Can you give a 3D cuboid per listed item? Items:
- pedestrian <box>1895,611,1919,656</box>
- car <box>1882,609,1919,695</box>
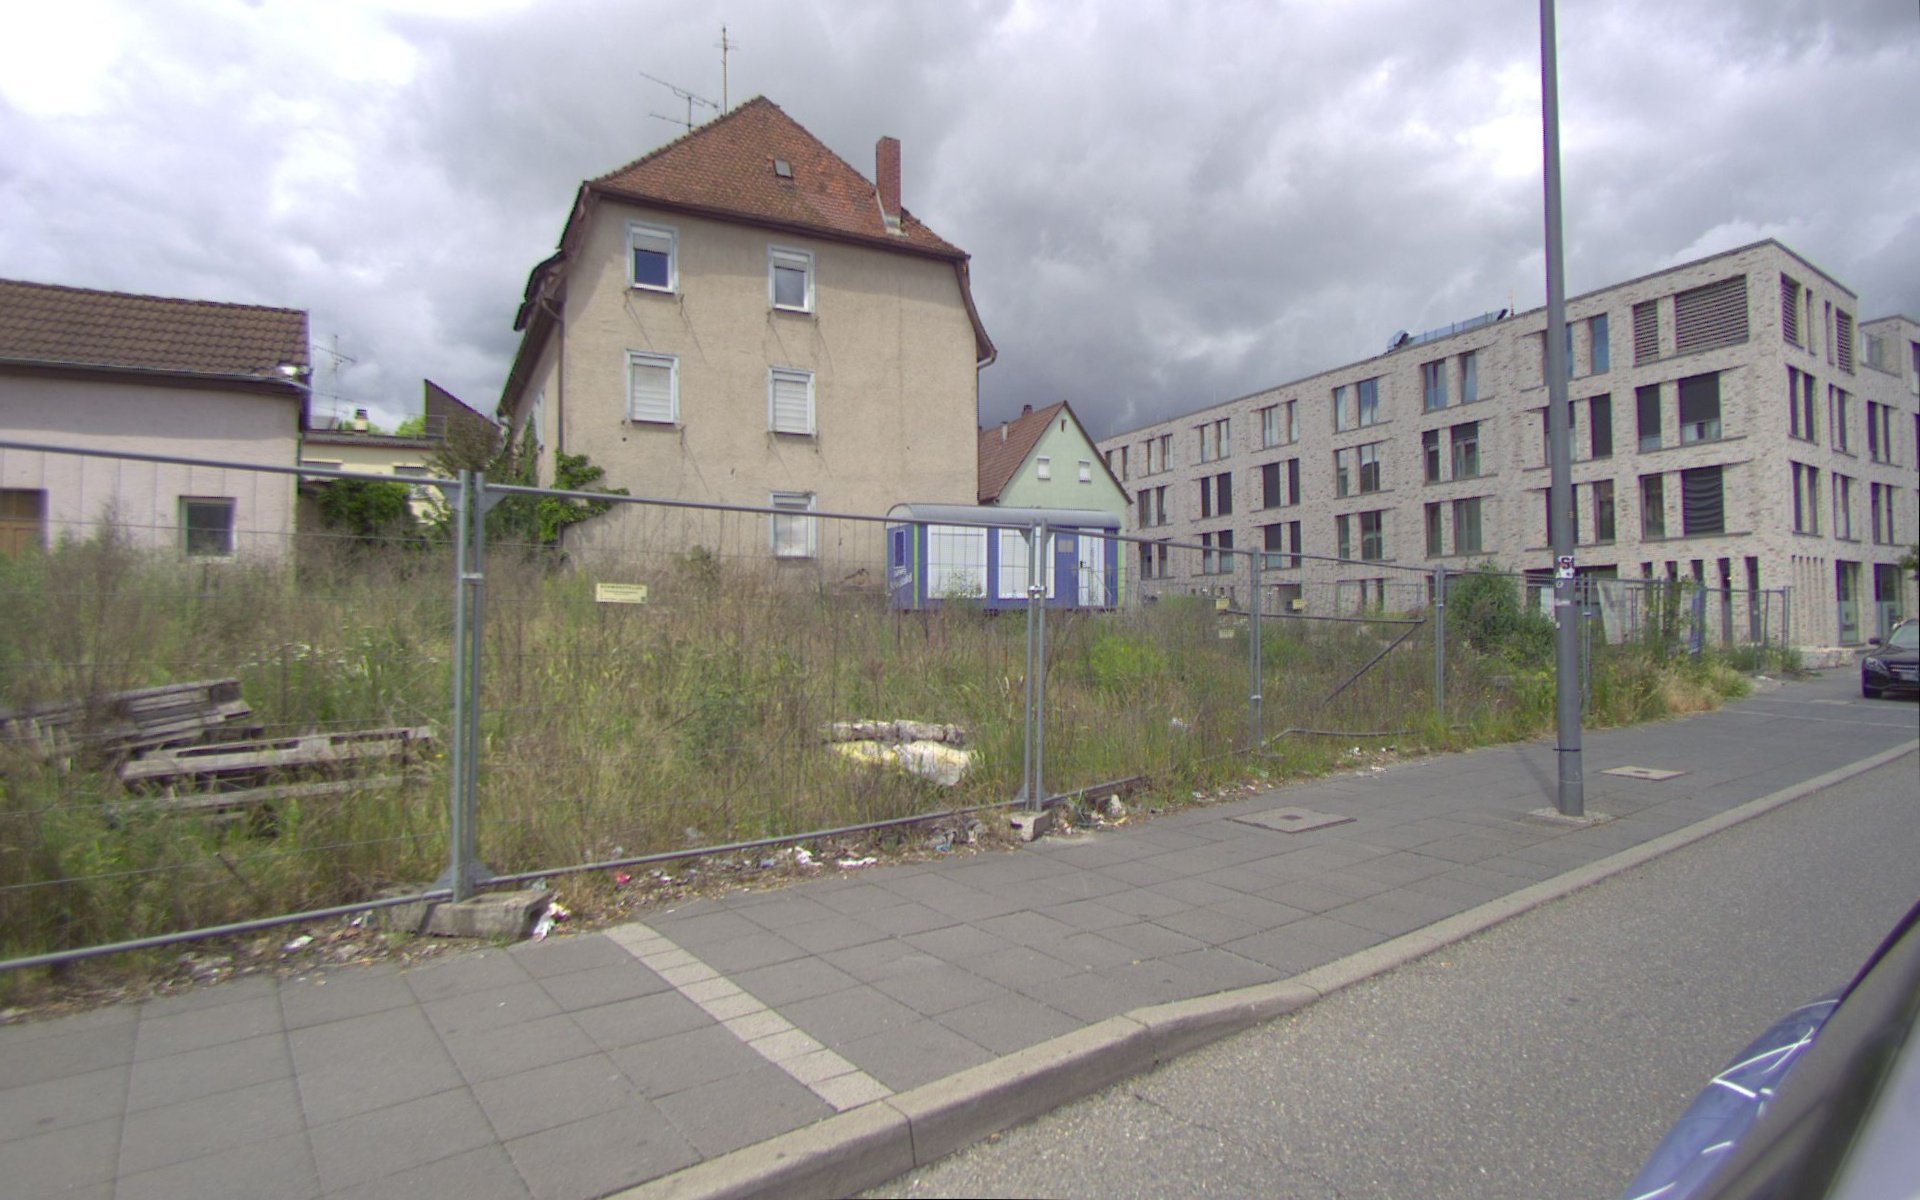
[{"bbox_3d":[33.107,1.148,35.238,0.768,1.532,0.673,1,-1,-38],"label":"pedestrian"},{"bbox_3d":[18.260,0.917,18.526,3.729,1.441,1.676,-1,0,-42],"label":"car"}]
